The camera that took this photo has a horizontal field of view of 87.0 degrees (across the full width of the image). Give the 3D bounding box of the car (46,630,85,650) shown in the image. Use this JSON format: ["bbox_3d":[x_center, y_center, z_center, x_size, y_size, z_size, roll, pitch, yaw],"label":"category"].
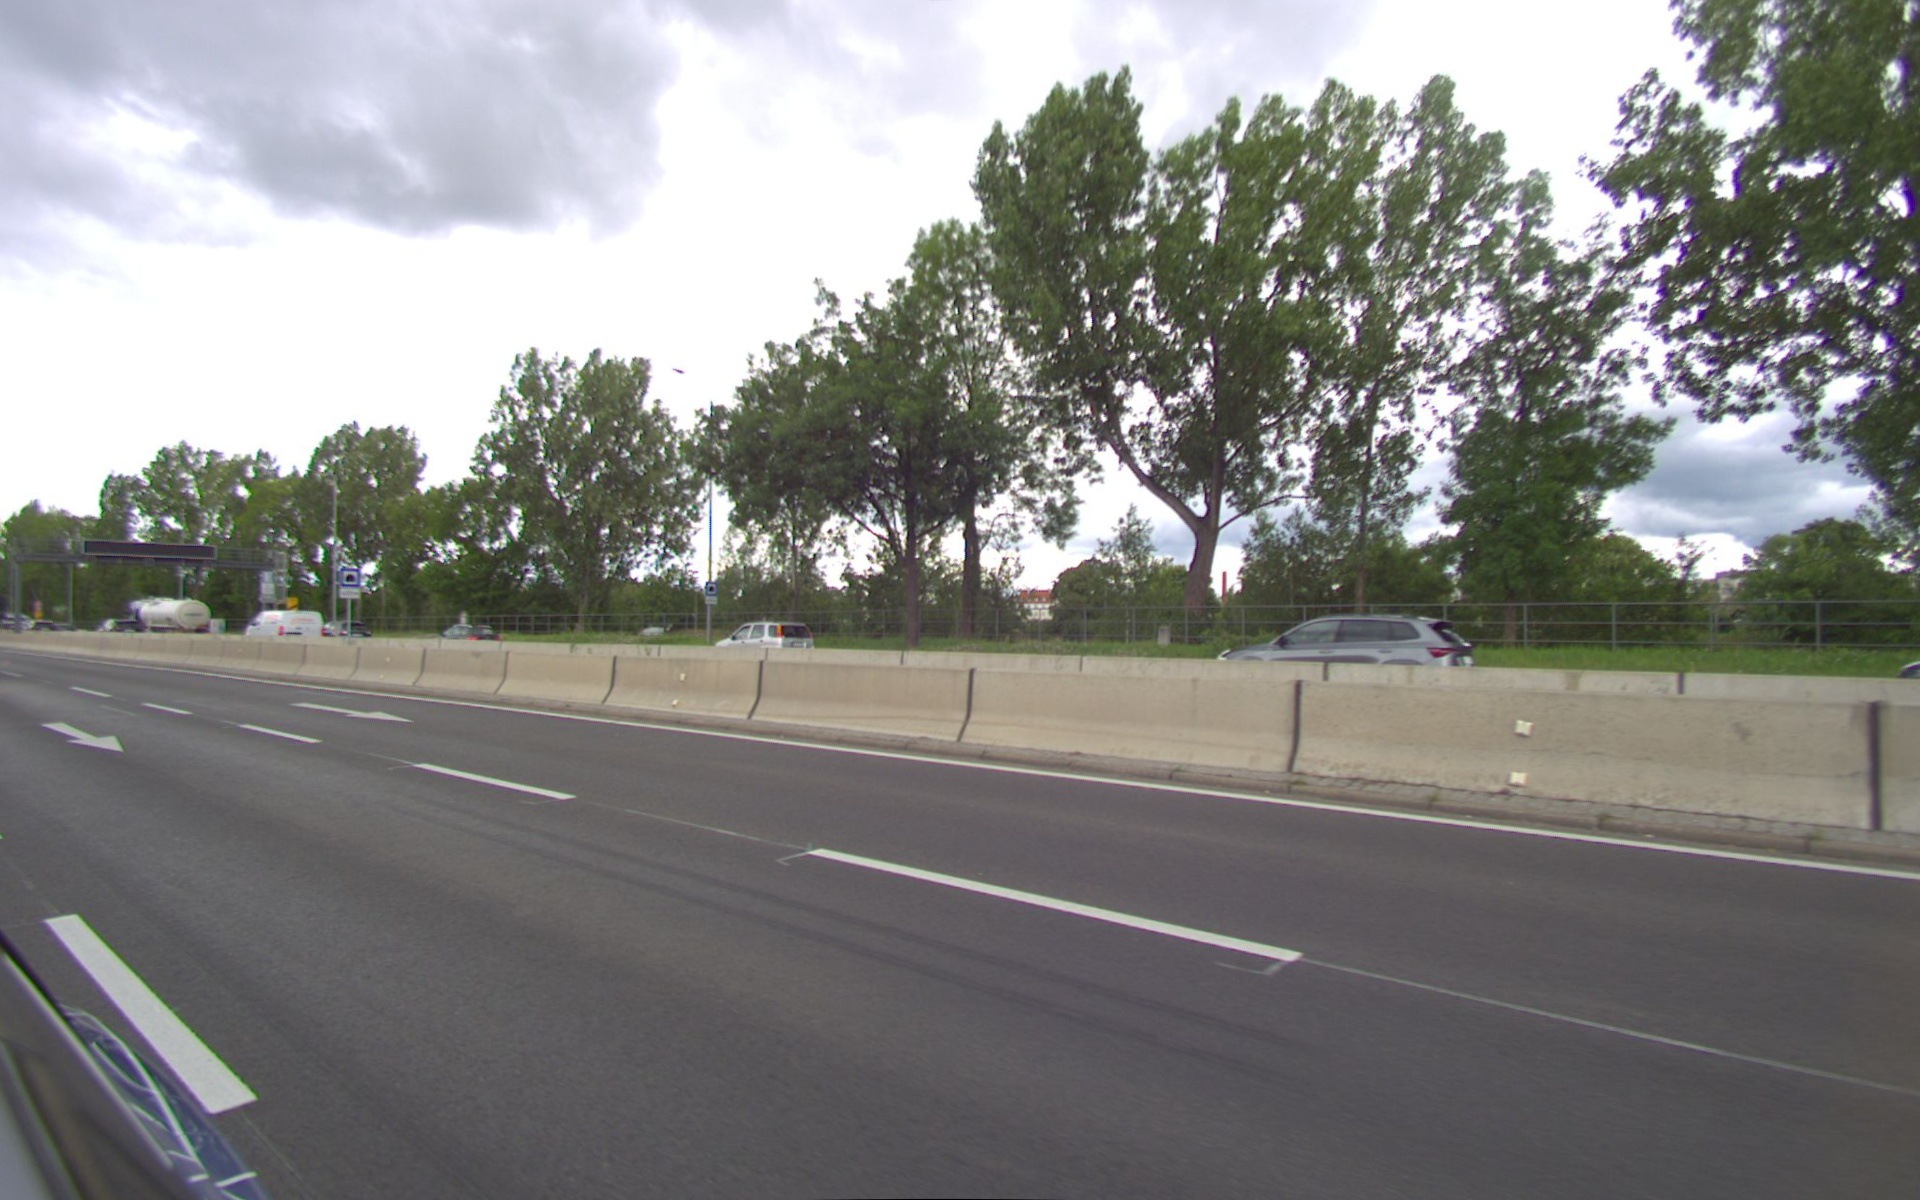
[{"bbox_3d":[-78.983,3.517,89.317,4.694,1.630,1.973,-2,0,41],"label":"car"}]

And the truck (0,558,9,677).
[{"bbox_3d":[-28.971,0.584,27.964,8.380,3.106,2.906,-2,0,40],"label":"truck"}]

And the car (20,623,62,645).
[{"bbox_3d":[-74.122,2.749,81.582,4.694,1.630,1.973,-2,0,41],"label":"car"}]

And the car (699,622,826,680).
[{"bbox_3d":[-6.442,1.620,32.801,4.120,1.695,1.859,-2,0,41],"label":"car"}]

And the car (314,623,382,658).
[{"bbox_3d":[-33.528,2.204,55.418,4.301,1.752,1.973,-2,0,41],"label":"car"}]

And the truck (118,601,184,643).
[{"bbox_3d":[-65.542,1.785,81.957,5.385,3.243,3.068,-2,0,39],"label":"truck"}]

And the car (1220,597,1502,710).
[{"bbox_3d":[6.828,0.864,17.474,4.123,1.695,1.859,-2,0,41],"label":"car"}]

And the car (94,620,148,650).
[{"bbox_3d":[-52.175,2.178,62.927,3.998,1.752,1.973,-2,0,41],"label":"car"}]

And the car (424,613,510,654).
[{"bbox_3d":[-22.934,1.545,47.034,4.467,1.752,1.973,-2,0,41],"label":"car"}]

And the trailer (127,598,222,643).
[{"bbox_3d":[-60.822,1.623,78.221,11.653,3.244,3.071,-2,0,39],"label":"trailer"}]

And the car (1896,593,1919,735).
[{"bbox_3d":[16.314,0.873,13.900,4.933,2.029,1.973,-2,0,41],"label":"car"}]

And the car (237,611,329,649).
[{"bbox_3d":[-30.559,1.350,45.618,4.878,1.571,1.975,-2,0,38],"label":"car"}]
